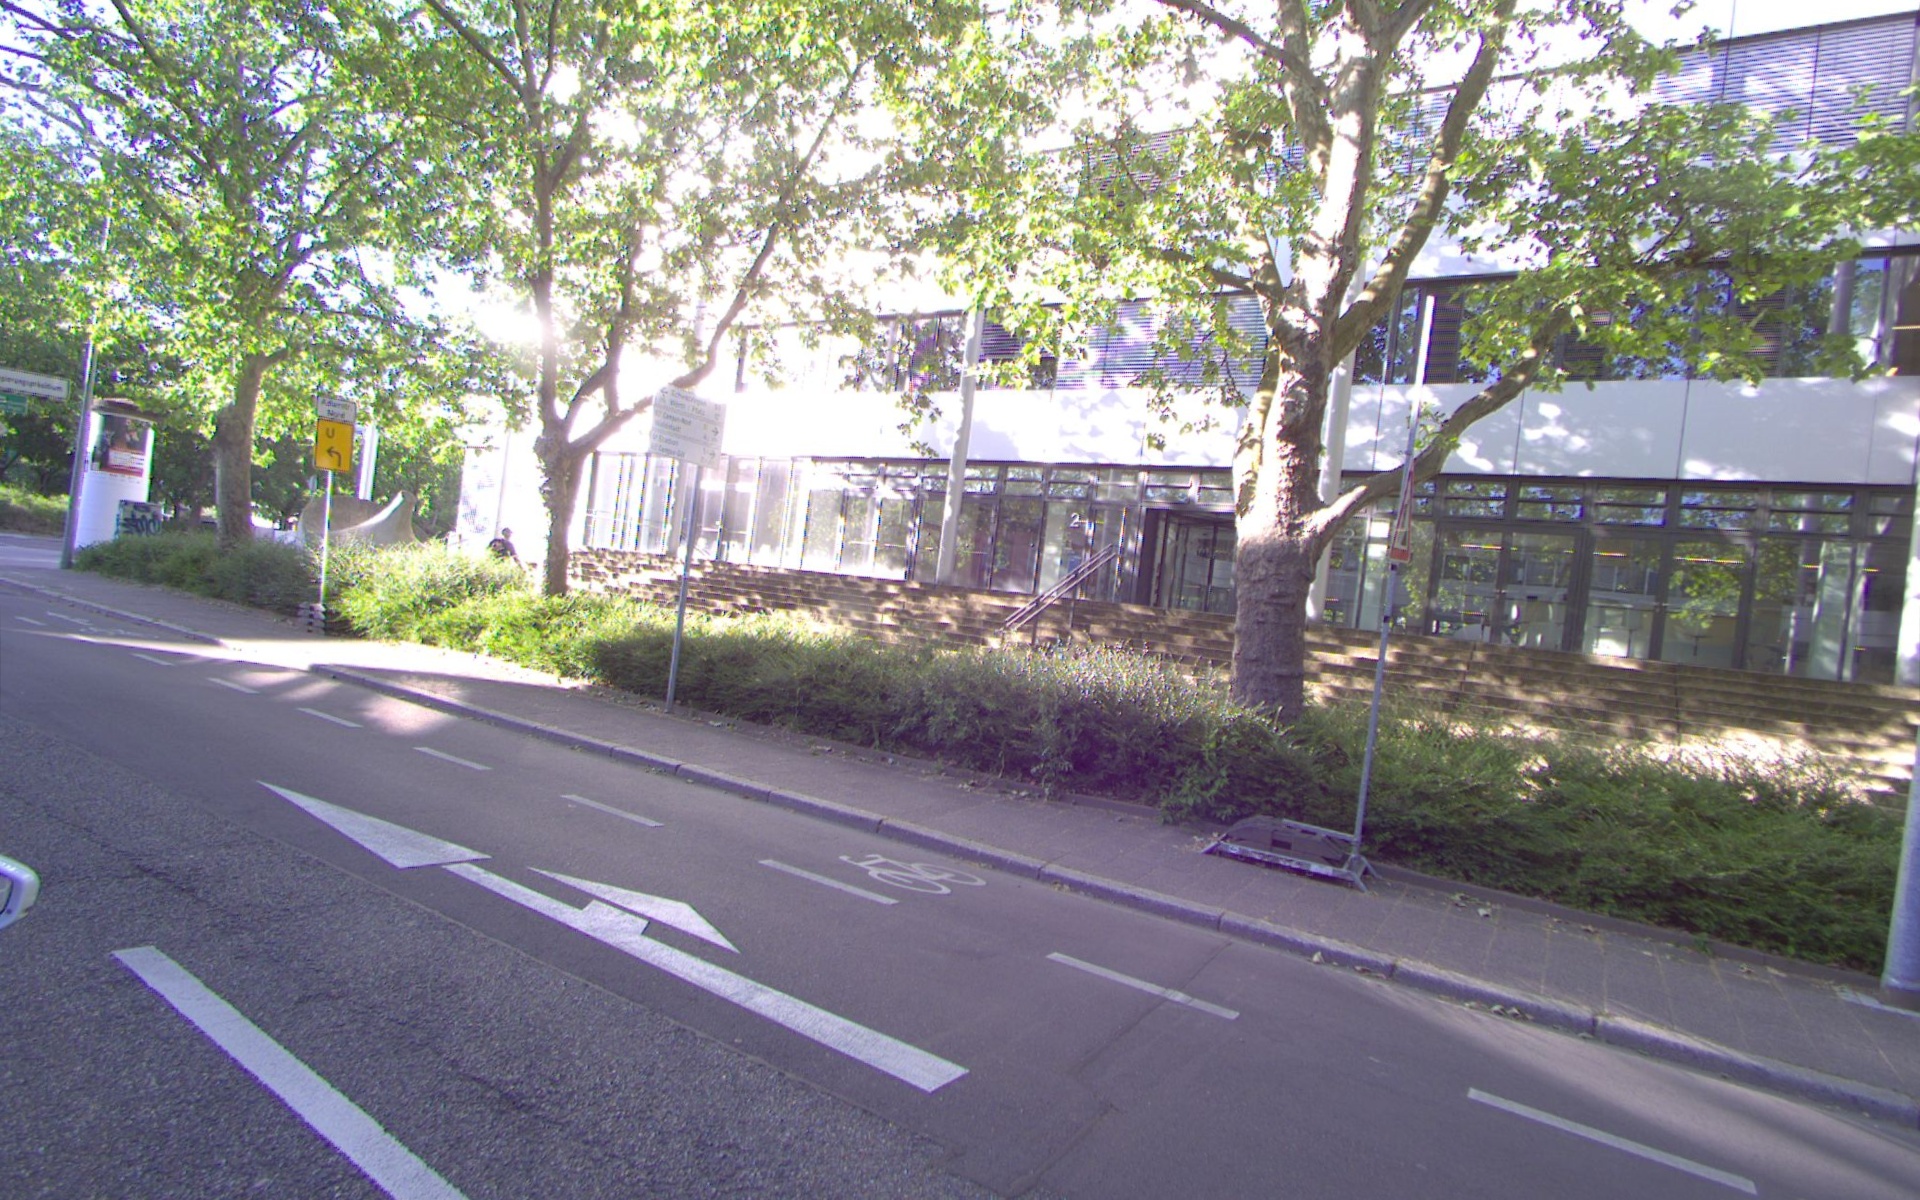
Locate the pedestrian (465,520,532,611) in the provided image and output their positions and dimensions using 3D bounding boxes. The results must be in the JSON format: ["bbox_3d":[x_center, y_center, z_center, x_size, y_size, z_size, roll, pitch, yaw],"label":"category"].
[{"bbox_3d":[-9.832,-0.725,21.443,0.848,1.802,0.785,7,0,30],"label":"pedestrian"}]
